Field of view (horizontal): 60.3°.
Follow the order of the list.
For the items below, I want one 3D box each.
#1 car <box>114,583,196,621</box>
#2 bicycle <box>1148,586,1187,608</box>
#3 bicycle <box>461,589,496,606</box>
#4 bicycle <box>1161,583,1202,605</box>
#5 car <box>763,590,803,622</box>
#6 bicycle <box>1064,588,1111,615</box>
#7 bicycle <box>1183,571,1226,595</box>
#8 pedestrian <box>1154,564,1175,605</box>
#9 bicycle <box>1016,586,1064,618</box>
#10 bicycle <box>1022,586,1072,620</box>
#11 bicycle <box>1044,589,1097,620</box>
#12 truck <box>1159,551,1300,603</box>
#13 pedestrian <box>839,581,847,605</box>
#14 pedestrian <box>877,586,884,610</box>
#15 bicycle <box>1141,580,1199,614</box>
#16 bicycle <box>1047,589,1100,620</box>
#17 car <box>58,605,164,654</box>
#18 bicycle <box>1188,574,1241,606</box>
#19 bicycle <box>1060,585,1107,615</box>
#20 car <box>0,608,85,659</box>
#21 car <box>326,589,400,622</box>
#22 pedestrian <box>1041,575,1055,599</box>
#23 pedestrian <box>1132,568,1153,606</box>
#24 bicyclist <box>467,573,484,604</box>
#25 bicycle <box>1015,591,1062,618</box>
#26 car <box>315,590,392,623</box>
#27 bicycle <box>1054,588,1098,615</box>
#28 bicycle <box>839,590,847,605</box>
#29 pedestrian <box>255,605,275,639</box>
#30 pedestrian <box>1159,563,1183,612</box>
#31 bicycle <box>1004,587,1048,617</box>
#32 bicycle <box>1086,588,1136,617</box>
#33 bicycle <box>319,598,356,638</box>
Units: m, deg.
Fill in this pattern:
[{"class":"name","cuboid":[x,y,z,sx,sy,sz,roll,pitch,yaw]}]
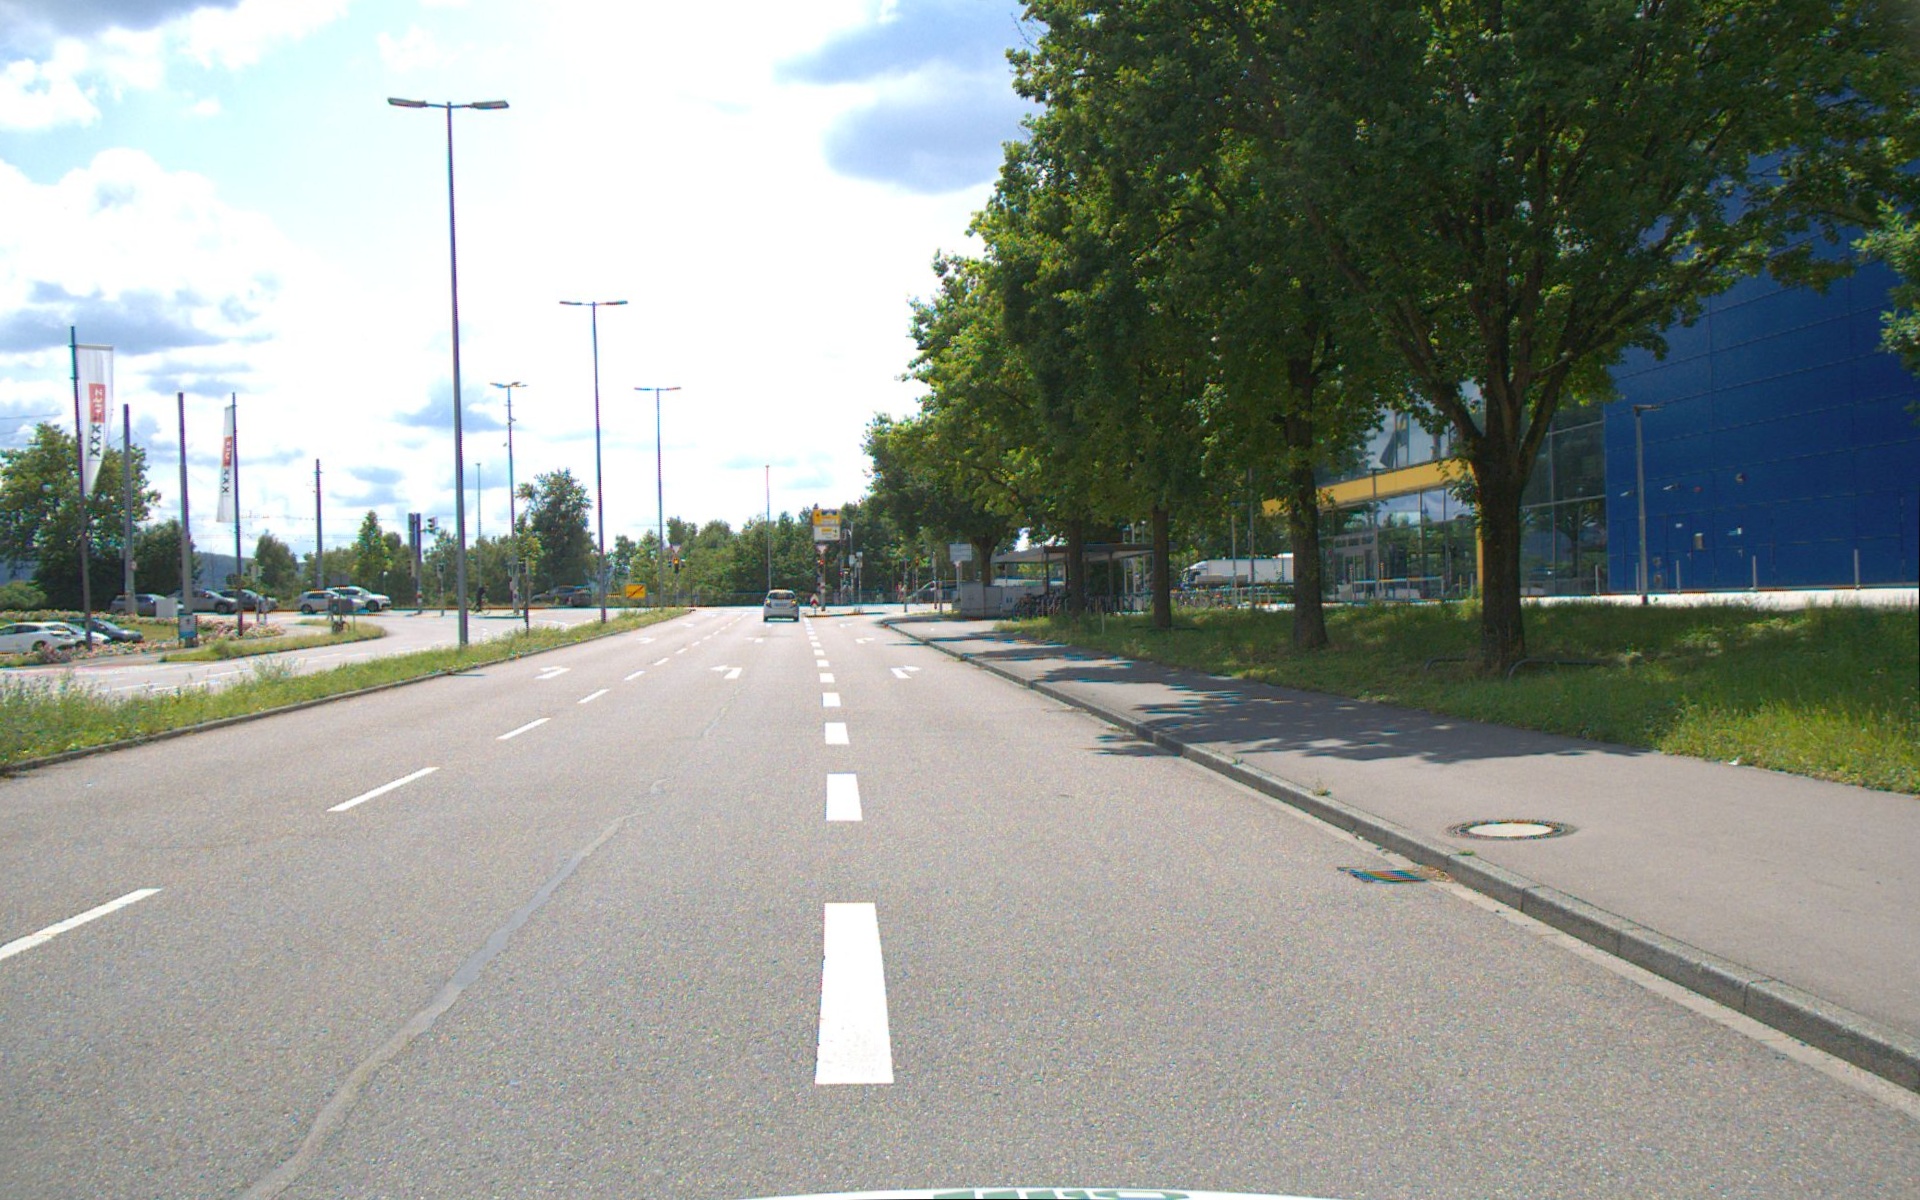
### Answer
[{"class":"car","cuboid":[-48.018,0.099,98.651,3.902,2.048,2.002,-2,1,10]},{"class":"bicycle","cuboid":[10.031,-0.142,79.981,1.825,1.012,0.423,-2,1,-5]},{"class":"bicycle","cuboid":[-29.942,-0.140,102.841,1.978,1.016,0.621,2,0,-6]},{"class":"bicycle","cuboid":[10.359,-0.280,77.496,1.828,1.012,0.463,-2,0,-10]},{"class":"car","cuboid":[-8.612,0.264,80.544,1.857,1.495,3.829,0,0,-5]},{"class":"bicycle","cuboid":[5.232,0.063,67.751,1.828,1.012,0.423,-2,-1,-11]},{"class":"bicycle","cuboid":[11.176,-0.776,75.633,1.828,1.012,0.423,-3,-1,-11]},{"class":"pedestrian","cuboid":[10.856,-0.829,87.727,0.986,2.108,0.975,-2,-1,8]},{"class":"bicycle","cuboid":[3.208,0.073,66.248,1.828,1.208,0.423,-3,0,-11]},{"class":"bicycle","cuboid":[3.358,0.110,64.026,1.859,1.190,0.423,-3,0,-5]},{"class":"bicycle","cuboid":[4.057,0.159,60.648,1.829,1.012,0.423,-4,1,-11]},{"class":"truck","cuboid":[23.536,-2.029,144.664,11.727,4.176,2.949,-1,0,-6]},{"class":"pedestrian","cuboid":[-9.023,-0.549,127.563,0.599,1.799,0.672,-1,0,-4]},{"class":"pedestrian","cuboid":[-5.907,-0.145,122.913,0.512,1.751,0.730,-2,0,-2]},{"class":"bicycle","cuboid":[7.550,-0.099,59.584,1.972,1.127,0.576,-3,0,32]},{"class":"bicycle","cuboid":[4.136,0.156,60.165,1.829,1.012,0.423,-4,1,-11]},{"class":"car","cuboid":[-38.635,1.304,75.386,3.923,2.049,1.991,-2,0,-17]},{"class":"bicycle","cuboid":[10.842,-0.415,70.503,2.095,1.251,0.721,-3,0,4]},{"class":"bicycle","cuboid":[5.113,0.008,68.390,1.828,1.135,0.423,-3,0,-11]},{"class":"car","cuboid":[-40.087,1.455,70.694,4.266,2.024,1.997,-2,0,-7]},{"class":"car","cuboid":[-40.151,0.382,111.265,4.266,2.024,1.997,-2,0,-7]},{"class":"pedestrian","cuboid":[6.830,-0.981,128.692,0.909,1.839,0.735,-1,0,-7]},{"class":"pedestrian","cuboid":[9.639,-0.690,87.356,0.986,1.935,0.975,-2,-2,8]},{"class":"bicyclist","cuboid":[-30.100,-0.731,102.810,0.903,1.878,0.610,-1,1,-6]},{"class":"bicycle","cuboid":[3.205,0.163,67.701,1.828,1.012,0.423,-3,0,-11]},{"class":"car","cuboid":[-39.734,0.425,108.426,4.266,2.024,1.997,-2,0,-7]},{"class":"bicycle","cuboid":[4.925,0.051,70.293,1.825,1.052,0.423,-2,1,-5]},{"class":"bicycle","cuboid":[-9.020,-0.191,127.599,0.607,1.106,1.721,-1,1,-4]},{"class":"pedestrian","cuboid":[-38.511,1.240,91.600,0.857,1.870,0.788,1,-1,-35]},{"class":"pedestrian","cuboid":[7.666,-0.448,60.032,0.621,1.751,0.523,-3,-1,30]},{"class":"bicycle","cuboid":[2.848,0.082,71.164,1.828,1.208,0.423,-2,1,-11]},{"class":"bicycle","cuboid":[5.880,0.081,64.477,1.829,1.012,0.423,-3,-1,-11]},{"class":"bicycle","cuboid":[-27.888,0.790,74.138,0.998,1.704,2.046,-2,1,-5]}]
